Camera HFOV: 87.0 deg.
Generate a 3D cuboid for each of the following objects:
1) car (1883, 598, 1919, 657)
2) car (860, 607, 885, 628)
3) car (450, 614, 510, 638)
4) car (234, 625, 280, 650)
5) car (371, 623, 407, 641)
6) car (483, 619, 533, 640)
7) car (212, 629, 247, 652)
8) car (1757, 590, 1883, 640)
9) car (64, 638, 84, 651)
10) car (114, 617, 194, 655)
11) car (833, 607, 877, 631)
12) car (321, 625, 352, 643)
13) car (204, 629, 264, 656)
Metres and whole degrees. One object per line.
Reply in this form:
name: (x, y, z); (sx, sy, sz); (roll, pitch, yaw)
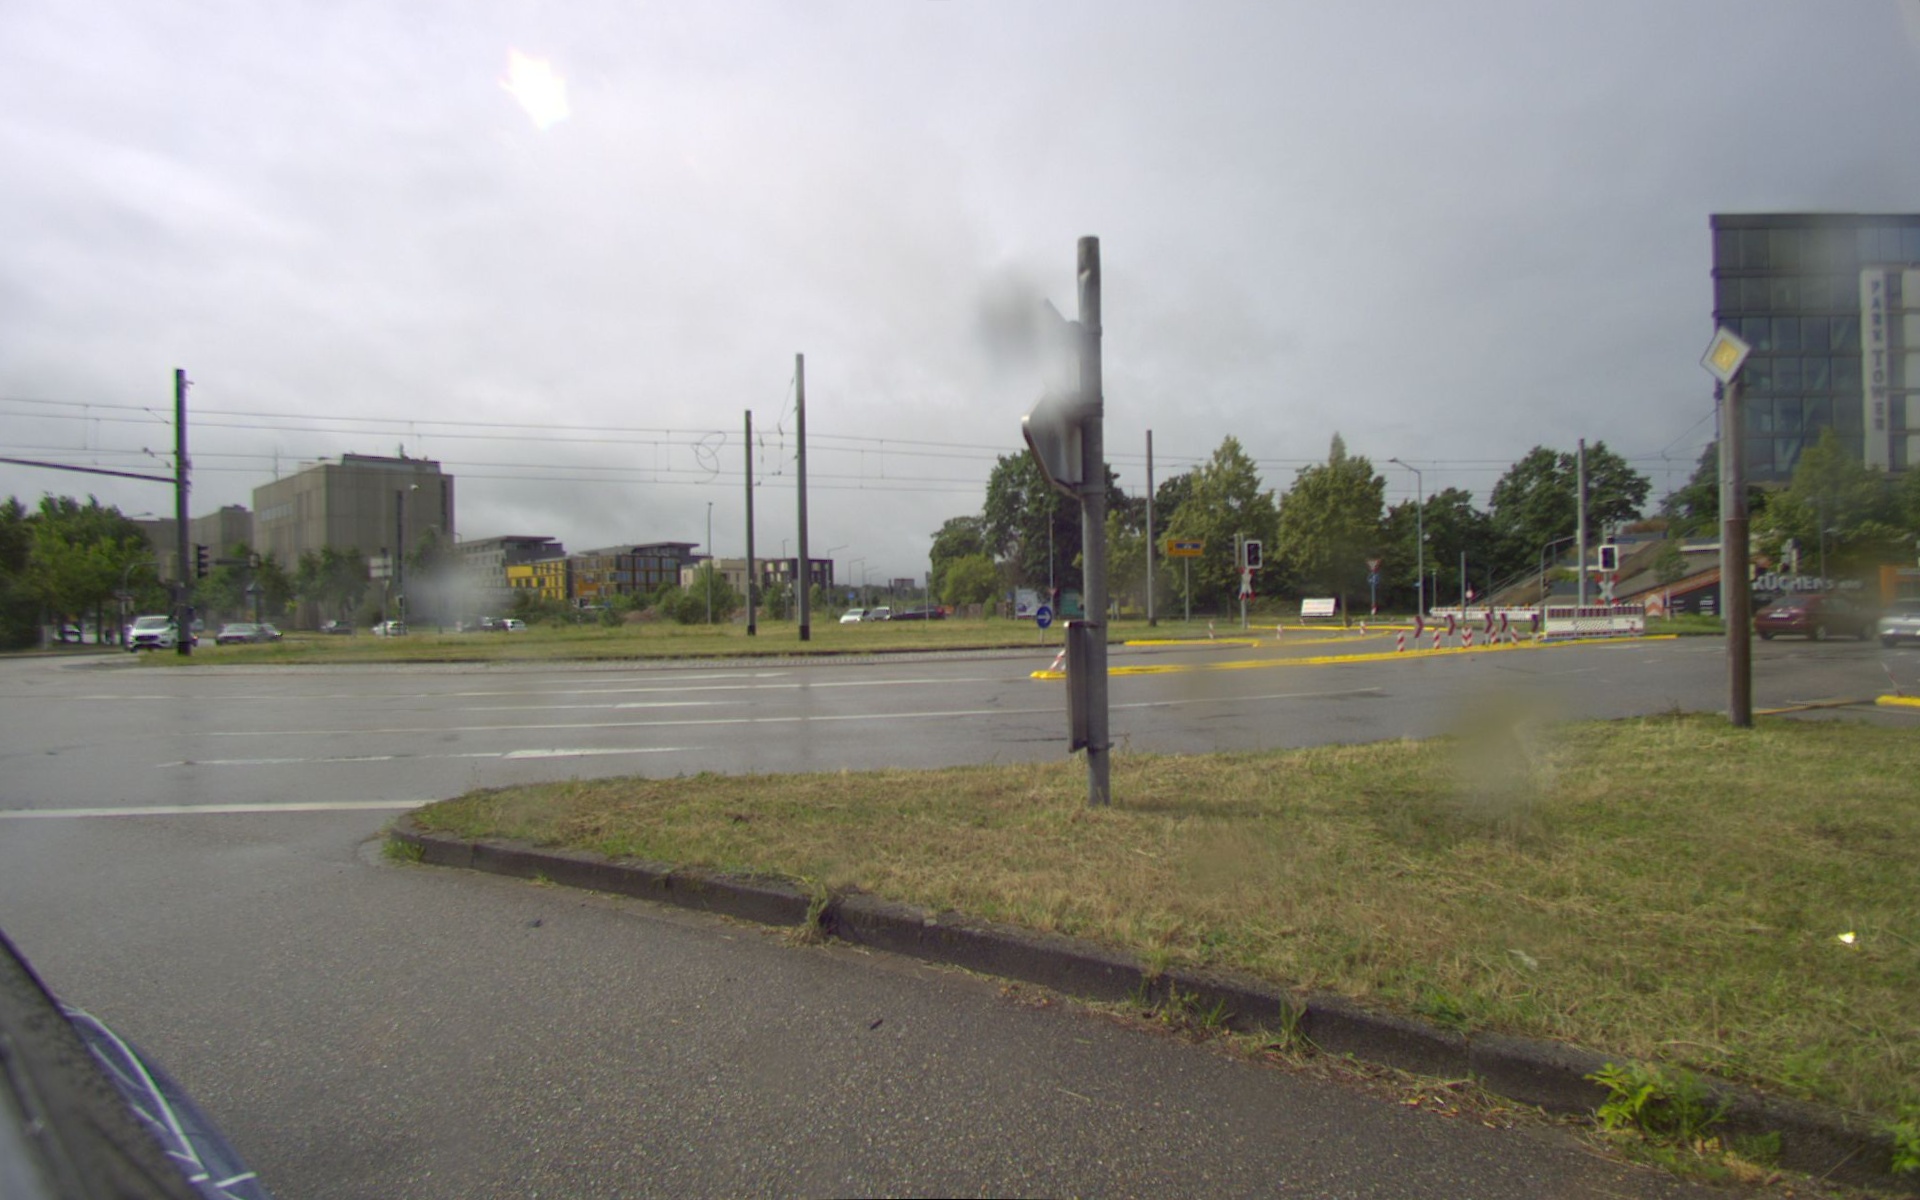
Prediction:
car: (27.122, 0.709, 27.662); (3.489, 1.572, 1.605); (-1, -1, -27)
car: (-7.912, 1.556, 92.031); (1.851, 1.829, 3.998); (-1, 0, 1)
car: (-36.382, 1.963, 76.737); (3.778, 1.684, 1.862); (-1, 0, 9)
car: (-46.730, 2.464, 67.221); (1.839, 1.547, 4.492); (0, -1, -44)
car: (-51.197, 2.896, 90.717); (3.905, 1.519, 1.702); (-2, -2, 43)
car: (-37.997, 2.439, 85.029); (4.462, 1.685, 1.844); (-1, -2, 36)
car: (-55.012, 3.020, 76.282); (1.836, 1.547, 4.501); (0, -1, -32)
car: (26.816, 0.464, 31.547); (3.931, 1.473, 1.725); (0, -2, -30)
car: (-117.979, 5.943, 134.767); (1.846, 1.676, 4.489); (4, -6, -40)
car: (-45.391, 2.043, 57.141); (2.043, 2.003, 4.815); (-1, -2, -19)
car: (-8.383, 1.495, 81.435); (1.864, 1.829, 3.970); (-1, -1, 22)
car: (-63.563, 3.488, 103.123); (1.847, 1.676, 4.488); (-1, -2, -42)
car: (-40.398, 2.365, 56.266); (4.551, 1.390, 1.841); (-2, -1, 43)
